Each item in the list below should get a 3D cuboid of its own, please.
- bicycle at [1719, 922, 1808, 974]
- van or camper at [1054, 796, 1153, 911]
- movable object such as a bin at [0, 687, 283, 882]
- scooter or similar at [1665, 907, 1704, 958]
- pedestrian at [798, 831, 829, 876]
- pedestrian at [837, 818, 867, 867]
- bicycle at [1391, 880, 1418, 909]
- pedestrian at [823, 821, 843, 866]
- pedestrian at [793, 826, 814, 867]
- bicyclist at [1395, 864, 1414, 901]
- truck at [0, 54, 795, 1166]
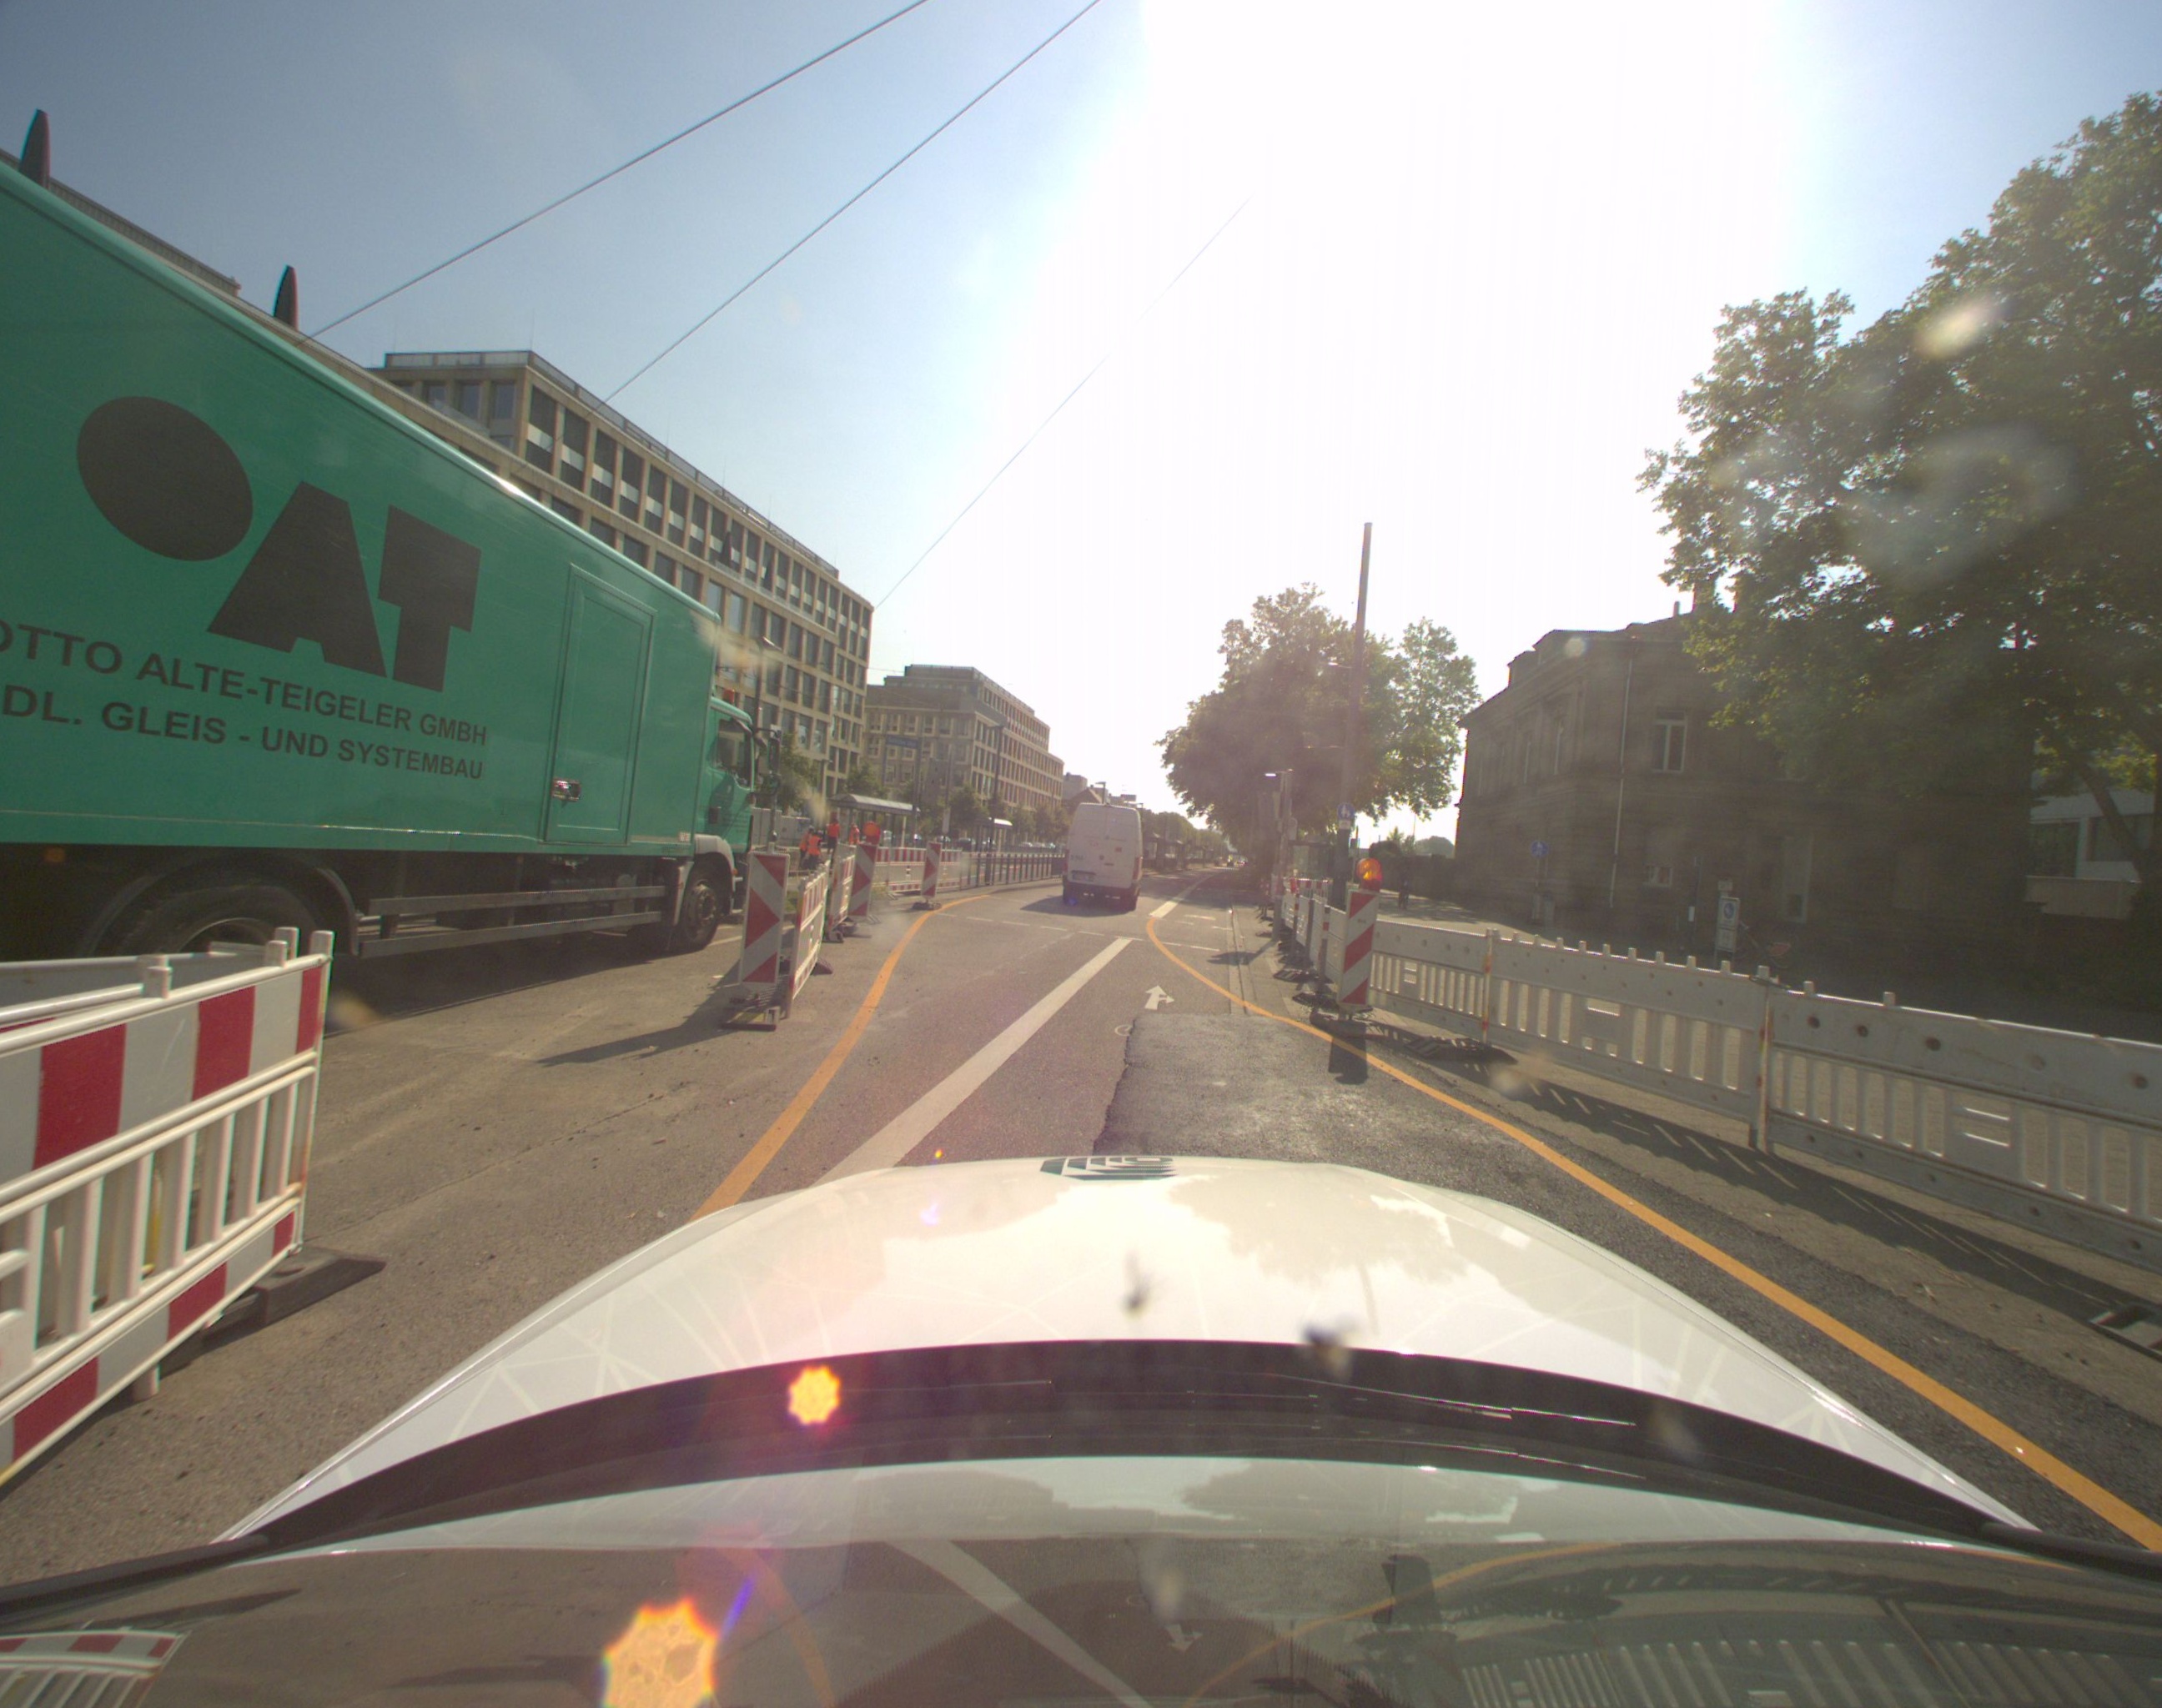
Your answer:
[{"bbox_3d":[17.512,2.389,20.951,0.491,0.999,1.814,5,3,-7],"label":"bicycle"},{"bbox_3d":[0.794,-0.017,23.089,2.105,2.681,5.260,6,1,6],"label":"van or camper"},{"bbox_3d":[-18.385,-1.263,12.097,3.591,2.957,8.502,6,0,11],"label":"movable object such as a bin"},{"bbox_3d":[16.367,2.113,22.104,0.422,1.228,1.178,5,0,18],"label":"scooter or similar"},{"bbox_3d":[-10.181,-0.018,30.984,0.661,1.663,0.776,5,1,45],"label":"pedestrian"},{"bbox_3d":[-9.466,-0.457,33.718,0.717,1.950,0.792,5,0,26],"label":"pedestrian"},{"bbox_3d":[13.572,1.687,34.189,0.489,1.088,1.860,5,1,6],"label":"bicycle"},{"bbox_3d":[-10.291,-0.448,33.786,0.626,1.815,0.636,4,0,-21],"label":"pedestrian"},{"bbox_3d":[-11.078,-0.298,32.515,0.640,1.554,0.623,4,0,-15],"label":"pedestrian"},{"bbox_3d":[13.606,1.191,34.240,0.467,1.539,0.597,5,0,6],"label":"bicyclist"},{"bbox_3d":[-5.277,-0.985,6.342,2.784,3.911,8.416,6,1,-1],"label":"truck"}]
